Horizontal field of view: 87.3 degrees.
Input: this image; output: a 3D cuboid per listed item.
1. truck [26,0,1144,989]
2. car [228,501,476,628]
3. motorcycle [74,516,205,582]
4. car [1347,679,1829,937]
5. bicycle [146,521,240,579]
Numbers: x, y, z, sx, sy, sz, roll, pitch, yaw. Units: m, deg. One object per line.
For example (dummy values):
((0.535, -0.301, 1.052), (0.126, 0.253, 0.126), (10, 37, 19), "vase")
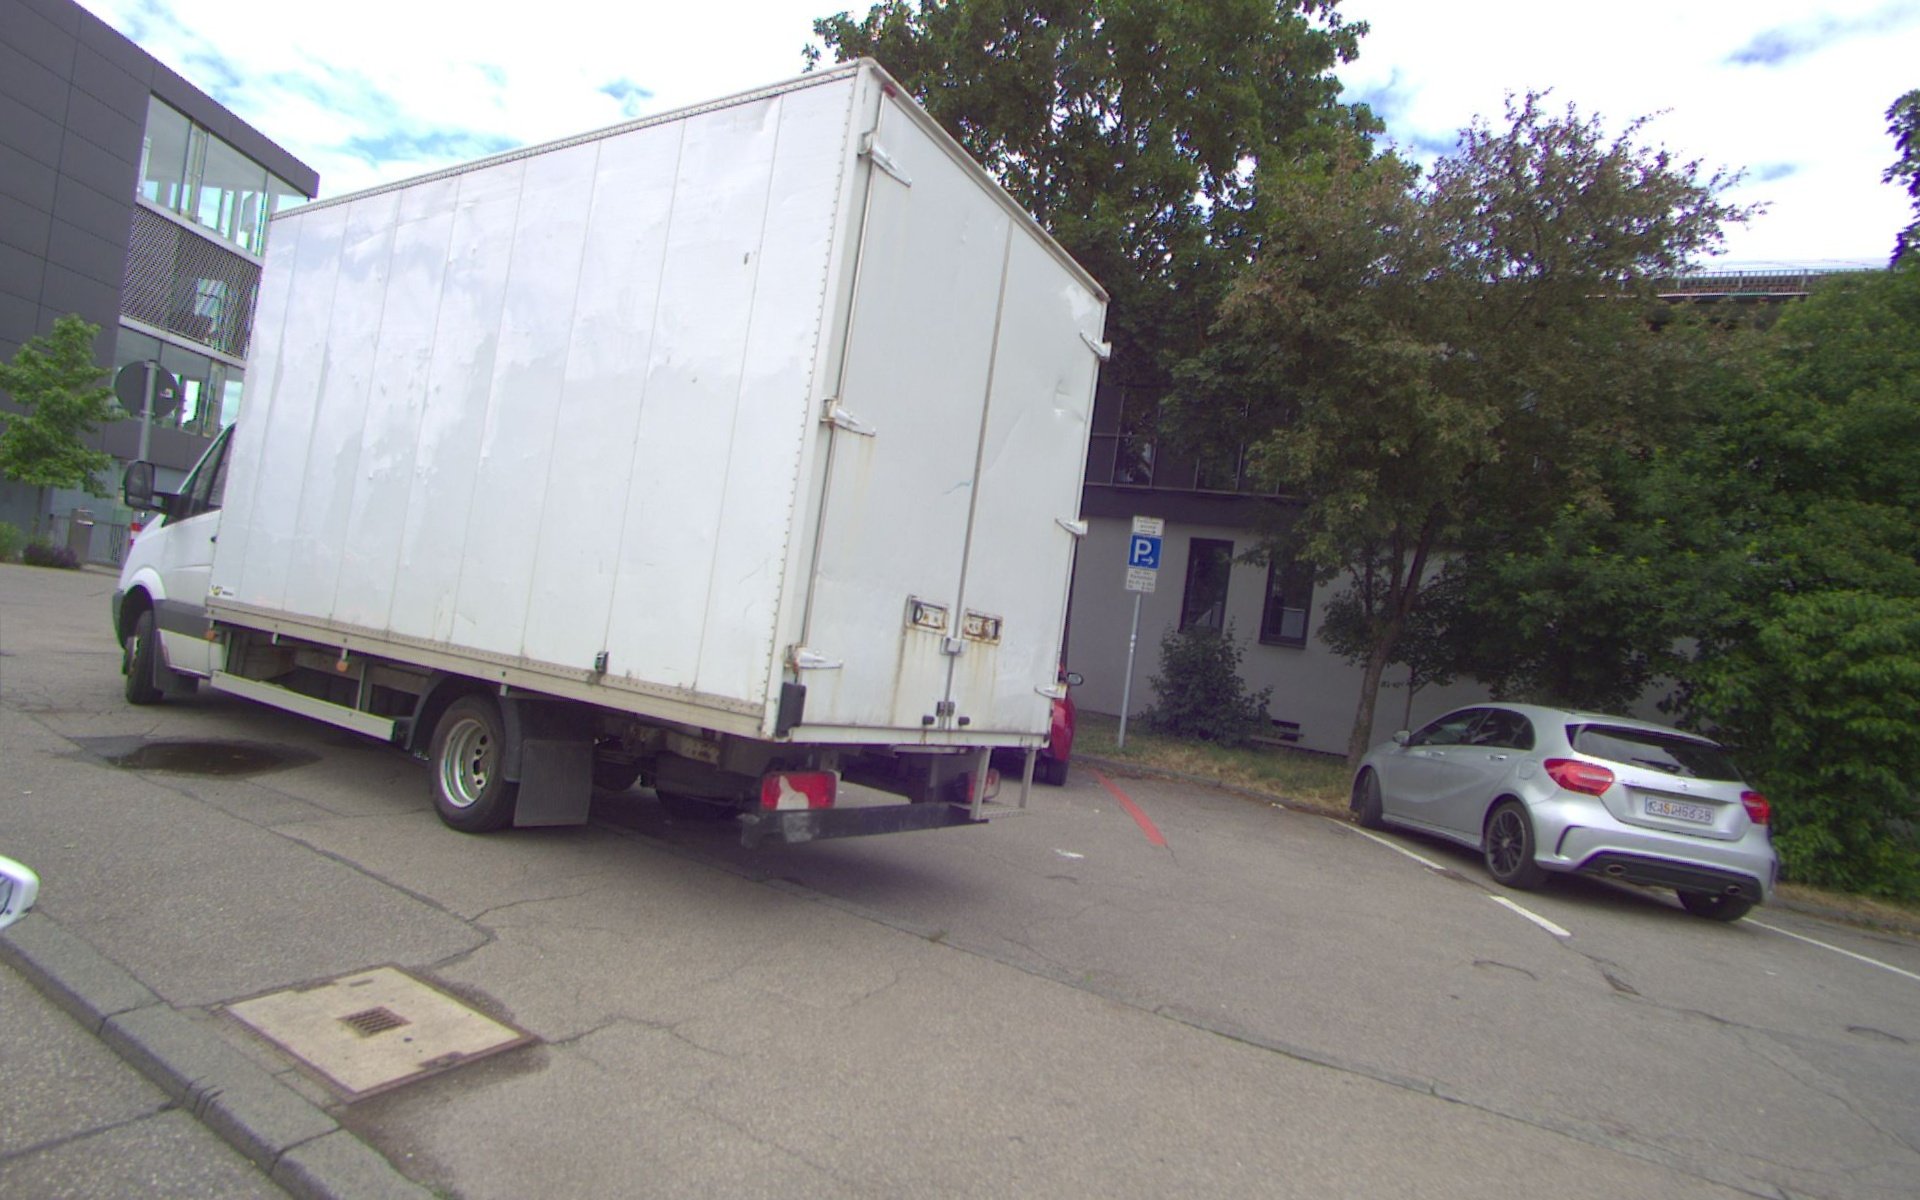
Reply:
((-3.054, -0.658, 6.745), (7.681, 3.567, 2.577), (7, 0, 32), "truck")
((-11.392, -0.683, 18.781), (4.442, 1.861, 1.996), (6, 0, 31), "car")
((-20.961, -1.293, 25.729), (2.643, 1.275, 0.849), (8, 0, 5), "motorcycle")
((5.096, 1.589, 8.882), (1.765, 1.489, 3.809), (7, -3, 1), "car")
((-21.049, -1.366, 27.635), (2.063, 1.275, 0.616), (8, 0, 5), "bicycle")
